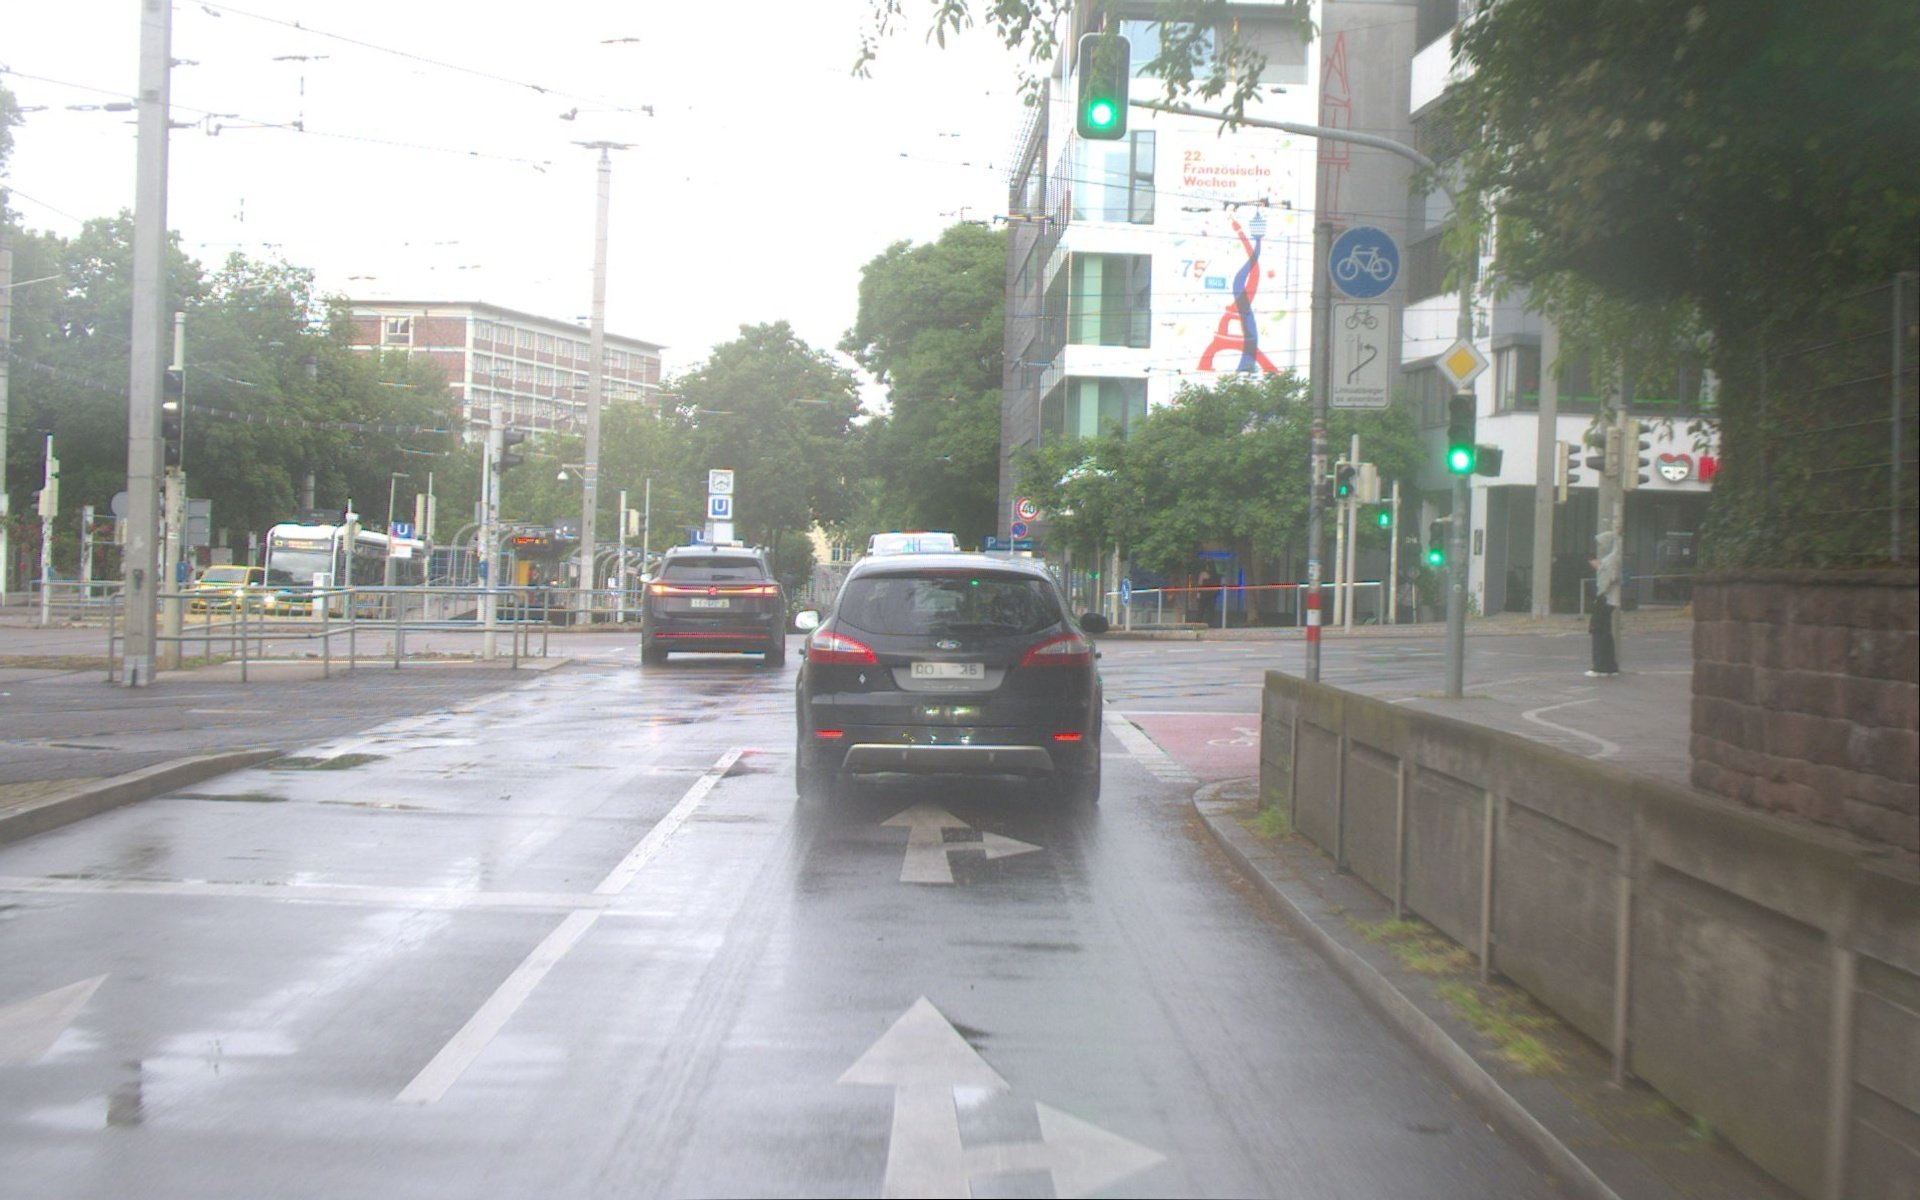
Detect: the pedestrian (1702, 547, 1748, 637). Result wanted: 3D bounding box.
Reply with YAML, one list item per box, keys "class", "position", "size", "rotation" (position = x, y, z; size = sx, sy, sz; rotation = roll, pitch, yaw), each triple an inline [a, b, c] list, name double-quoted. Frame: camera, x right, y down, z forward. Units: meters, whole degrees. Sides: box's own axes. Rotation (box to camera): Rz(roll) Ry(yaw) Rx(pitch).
- class: "pedestrian"
  position: [16.201, -0.172, 72.777]
  size: [0.718, 1.907, 0.696]
  rotation: [0, 0, 38]

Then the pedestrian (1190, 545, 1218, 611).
- class: "pedestrian"
  position: [5.745, -0.520, 80.903]
  size: [0.542, 1.558, 0.521]
  rotation: [0, 0, 20]

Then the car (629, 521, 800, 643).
- class: "car"
  position: [-3.209, -0.229, 44.911]
  size: [2.098, 1.500, 4.732]
  rotation: [0, 0, -4]

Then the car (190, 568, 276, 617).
- class: "car"
  position: [-25.207, -0.261, 119.303]
  size: [1.993, 1.640, 4.536]
  rotation: [0, 0, 0]

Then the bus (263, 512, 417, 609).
- class: "bus"
  position: [-22.119, -1.368, 123.405]
  size: [3.077, 3.289, 12.522]
  rotation: [0, 0, 1]

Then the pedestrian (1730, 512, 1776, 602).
- class: "pedestrian"
  position: [16.929, -0.907, 73.381]
  size: [0.718, 1.907, 0.696]
  rotation: [0, 0, 38]

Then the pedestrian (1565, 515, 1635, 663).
- class: "pedestrian"
  position: [7.447, -0.128, 39.981]
  size: [0.528, 1.706, 0.704]
  rotation: [0, 0, 38]

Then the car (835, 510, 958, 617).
- class: "car"
  position: [-1.125, -0.674, 63.184]
  size: [2.036, 1.833, 4.392]
  rotation: [2, 1, 1]

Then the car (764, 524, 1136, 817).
- class: "car"
  position: [-0.077, 0.371, 21.455]
  size: [2.036, 1.579, 4.392]
  rotation: [2, 1, -1]
